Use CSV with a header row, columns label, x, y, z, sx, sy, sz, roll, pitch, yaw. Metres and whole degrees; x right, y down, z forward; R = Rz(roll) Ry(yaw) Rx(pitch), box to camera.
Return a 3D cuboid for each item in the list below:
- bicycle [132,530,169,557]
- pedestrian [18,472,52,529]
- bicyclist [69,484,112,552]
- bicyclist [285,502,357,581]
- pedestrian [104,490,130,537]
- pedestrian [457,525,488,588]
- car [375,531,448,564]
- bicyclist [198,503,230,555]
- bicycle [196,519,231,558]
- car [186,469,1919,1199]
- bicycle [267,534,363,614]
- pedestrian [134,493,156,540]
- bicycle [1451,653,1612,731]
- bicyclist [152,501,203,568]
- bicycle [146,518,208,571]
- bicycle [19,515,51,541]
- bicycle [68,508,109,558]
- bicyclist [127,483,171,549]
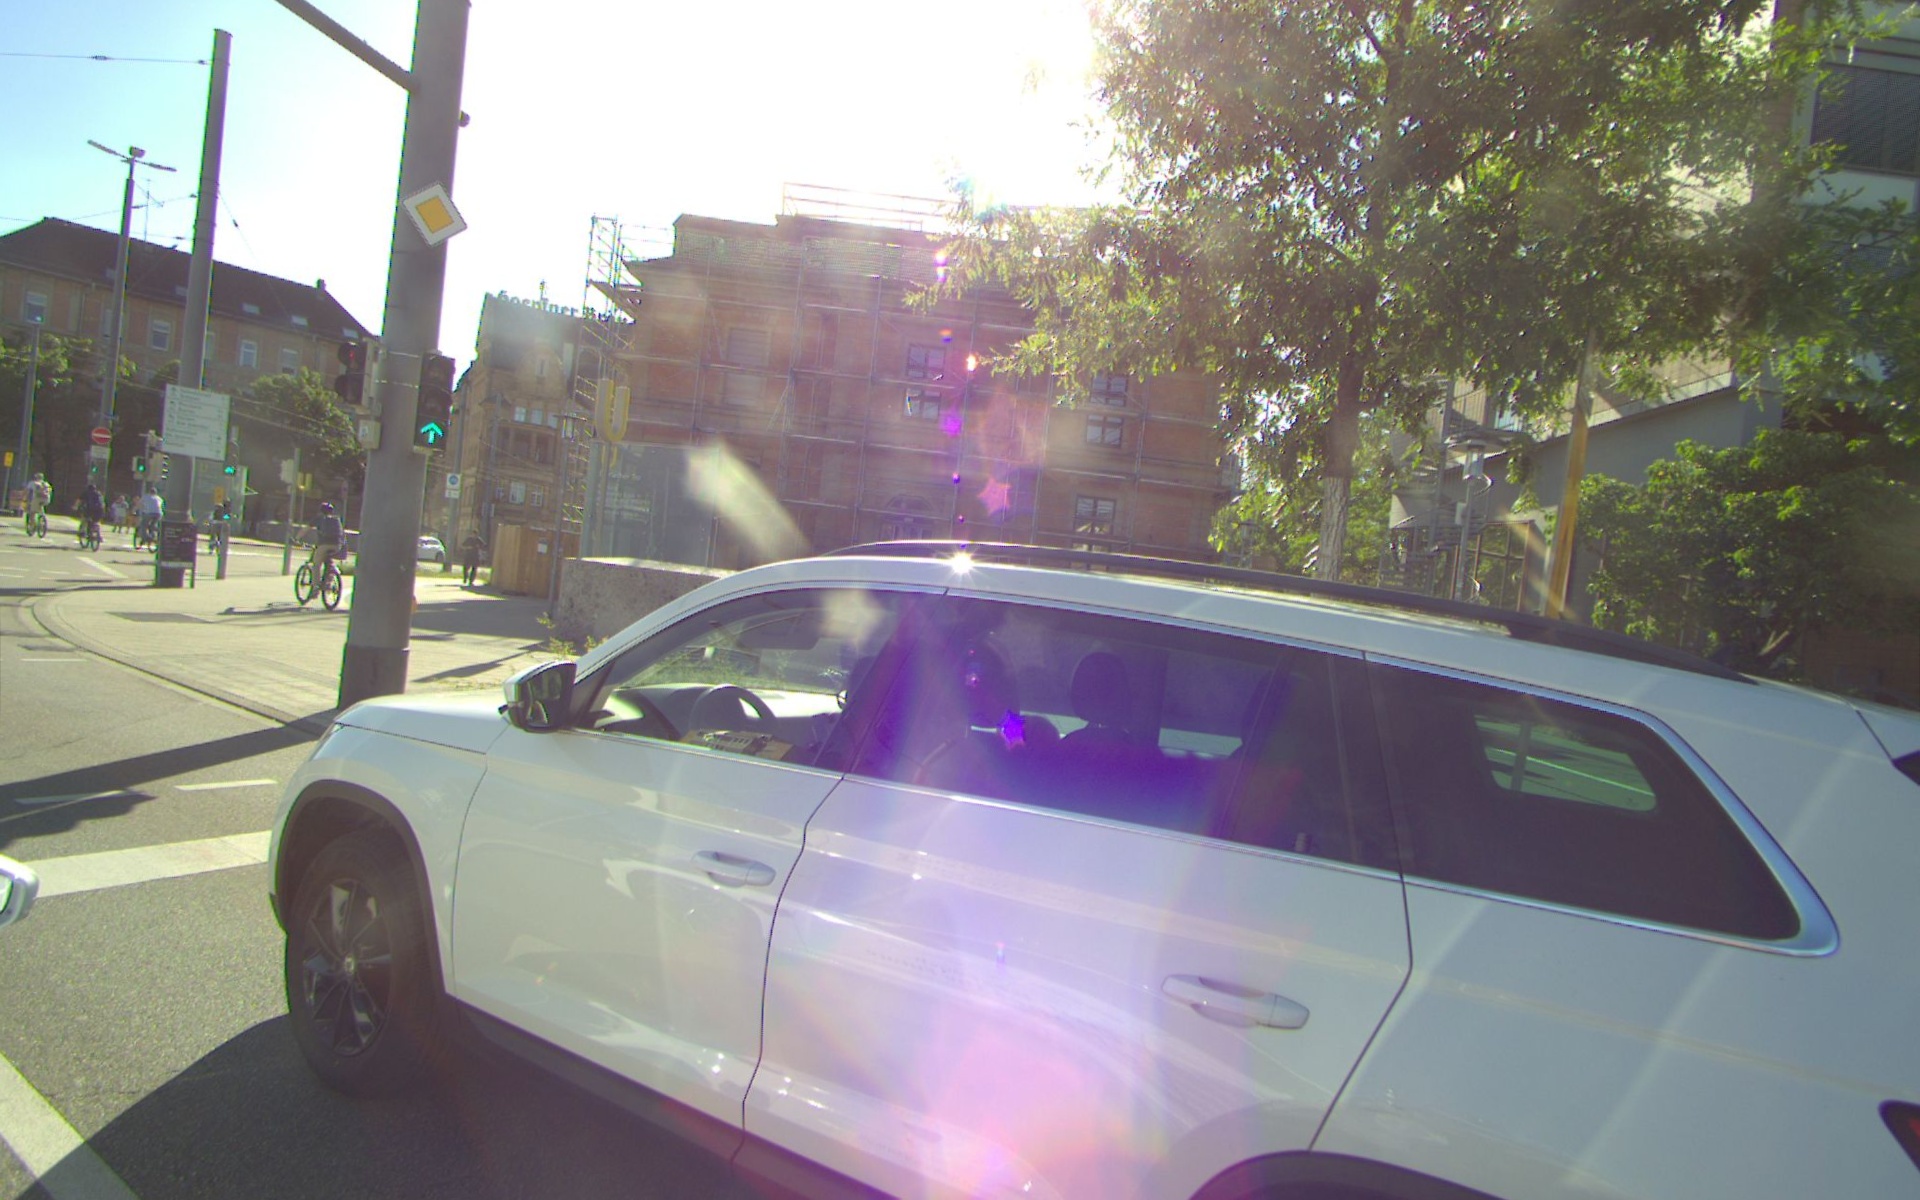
label,x,y,z,sx,sy,sz,roll,pitch,yaw
bicycle,-23.896,-1.676,29.702,1.446,0.664,0.536,7,2,39
pedestrian,-27.316,-2.933,29.712,0.545,1.582,0.849,6,1,-38
bicyclist,-23.017,-2.177,26.622,0.624,1.656,0.982,10,-1,-44
bicyclist,-11.432,-1.049,18.001,0.892,1.296,0.720,7,3,32
pedestrian,-37.708,-3.861,44.998,0.443,2.039,0.574,7,1,14
pedestrian,-15.566,-1.390,32.105,0.692,1.904,0.715,6,1,-27
car,-34.999,-3.328,64.328,1.766,1.583,4.327,7,0,7
bicyclist,-24.611,-2.345,33.200,0.934,1.588,0.570,7,1,43
bicycle,-24.641,-2.028,33.202,1.717,1.139,0.570,7,1,43
car,-0.028,0.697,2.701,4.225,1.662,1.697,7,0,30
bicycle,-11.565,-0.473,18.021,1.804,1.234,0.690,7,3,32
pedestrian,-36.444,-3.738,44.985,0.443,2.039,0.462,7,1,14
bicycle,13.367,2.133,23.606,3.079,1.394,0.798,7,1,8
bicyclist,-20.414,-1.710,26.235,0.962,1.618,0.685,7,1,35
bicycle,-20.399,-1.449,26.206,1.854,1.178,0.685,7,1,35
bicycle,-27.375,-2.138,29.771,0.534,0.664,1.707,6,1,-39
bicycle,-23.089,-1.797,26.636,0.624,1.126,1.827,10,-1,-43
bicyclist,-23.922,-2.477,29.660,0.910,1.802,0.746,7,2,39
